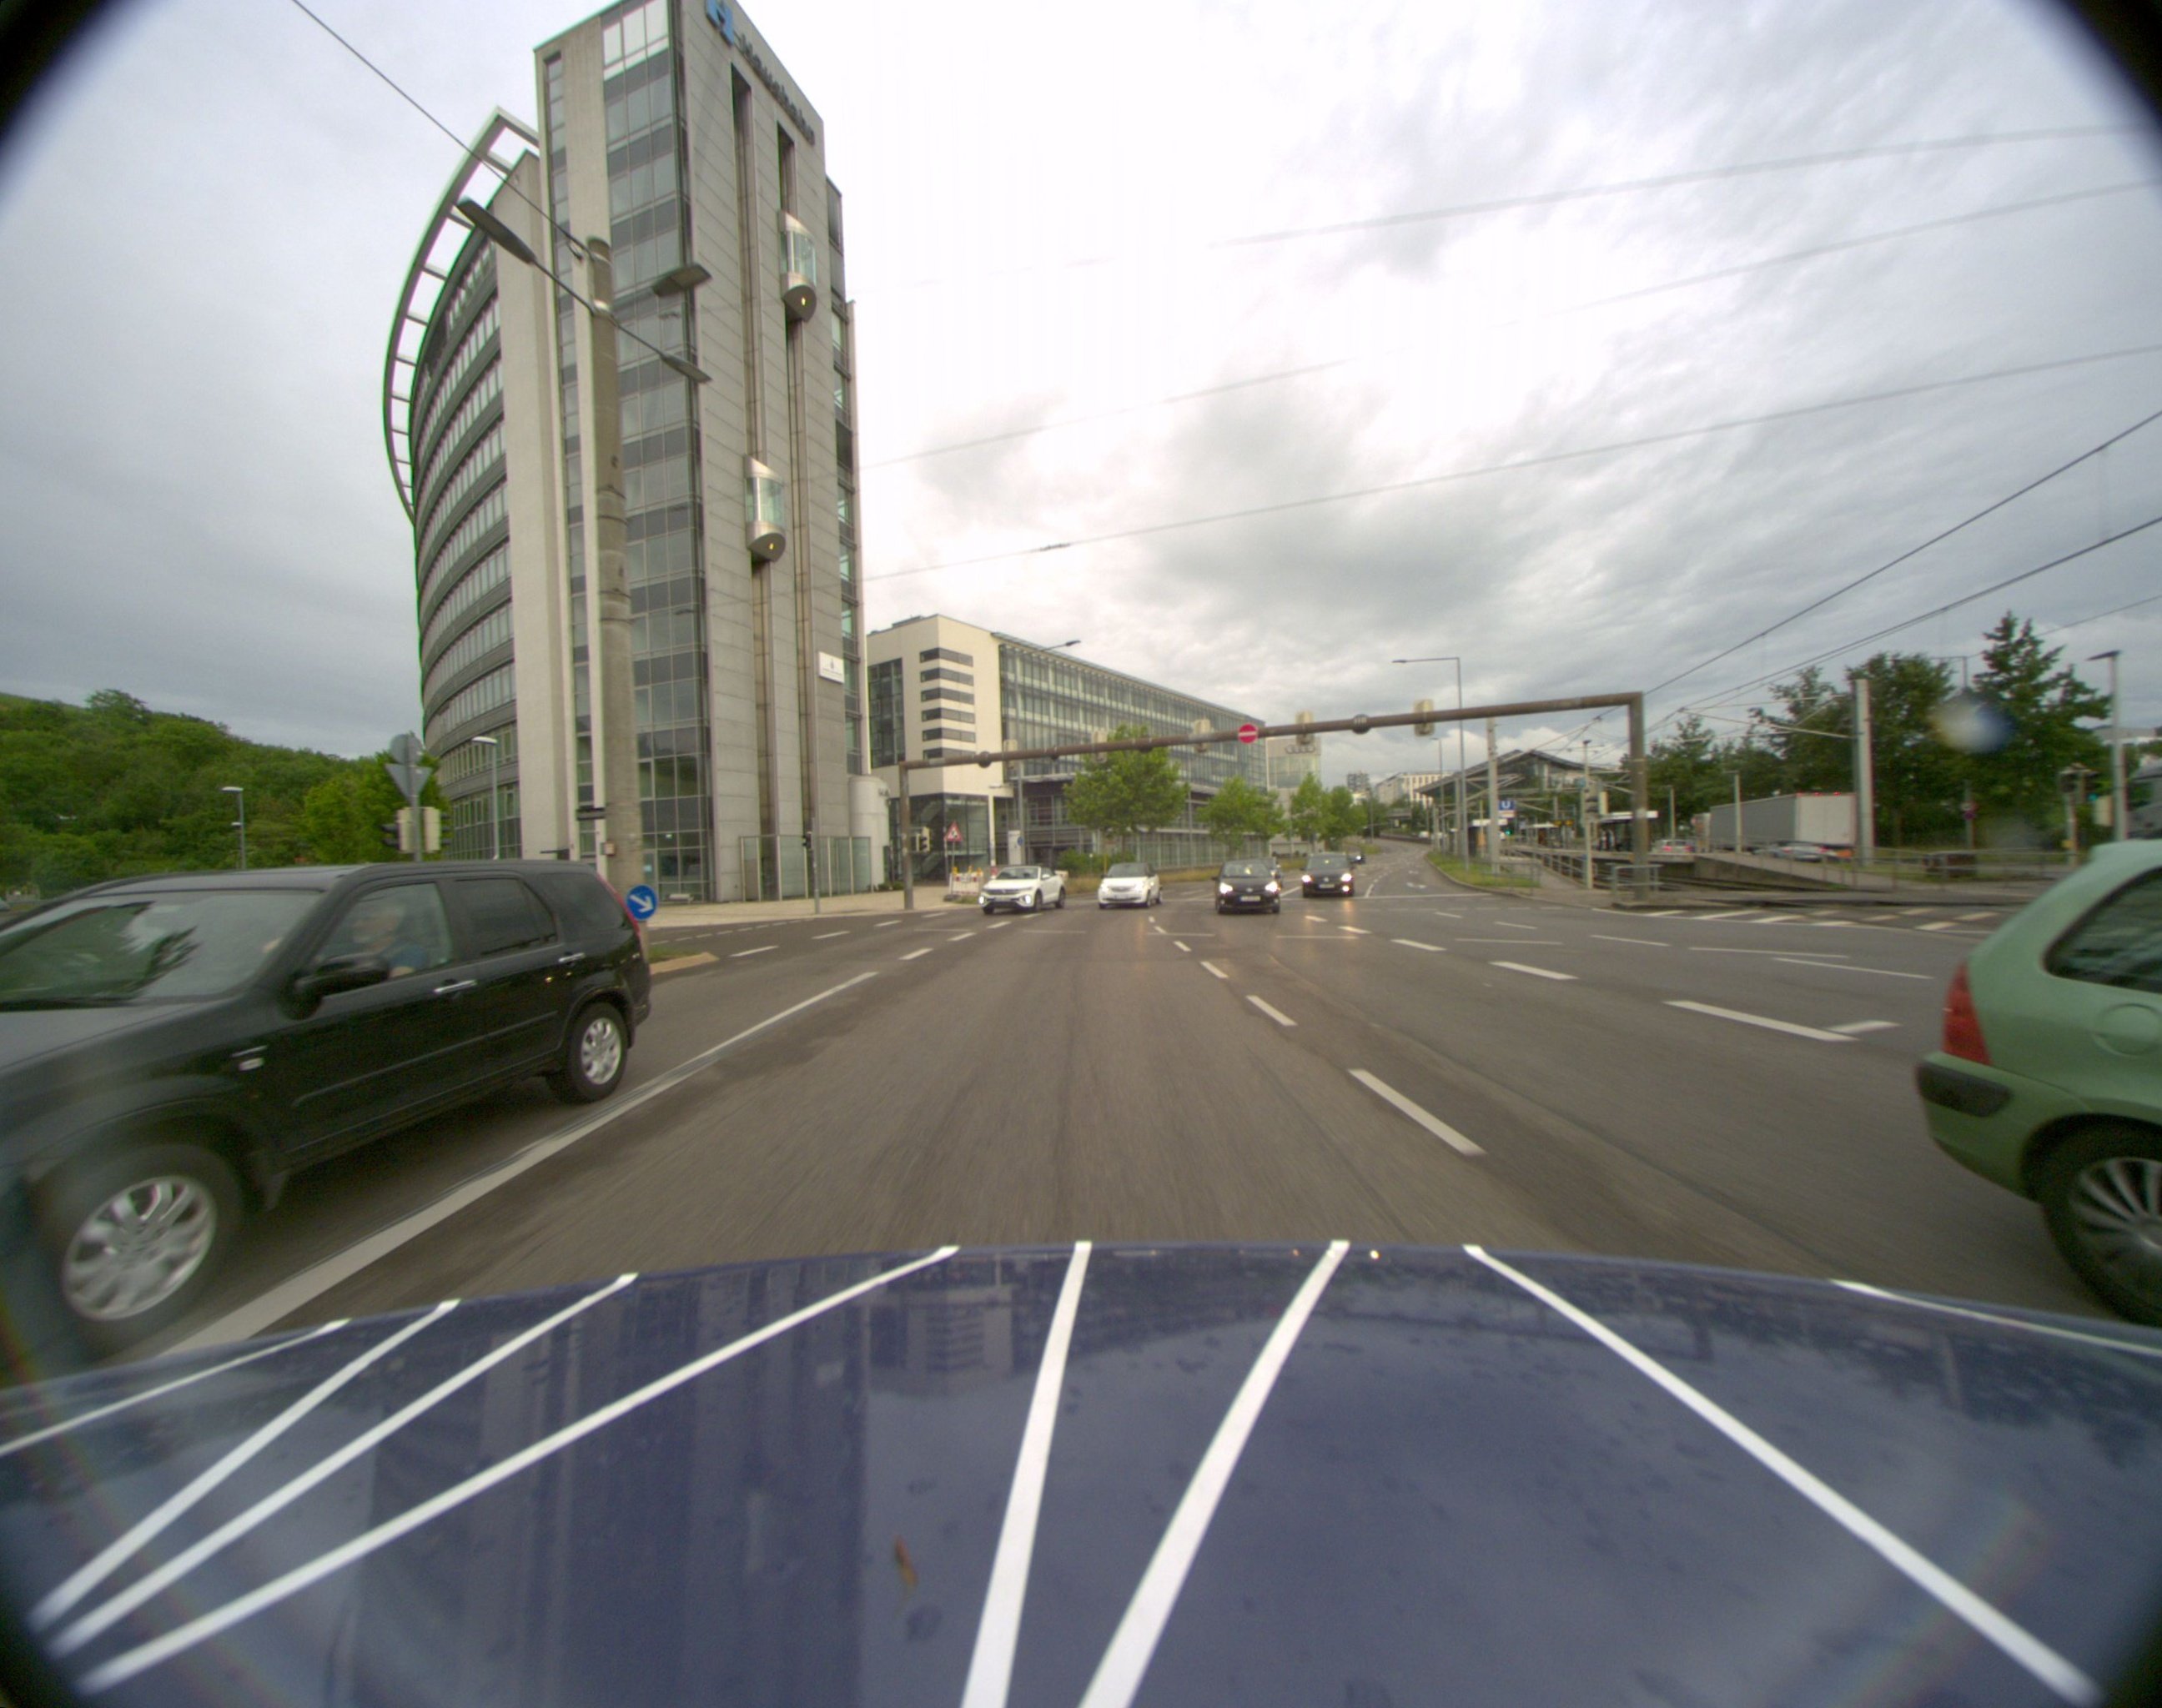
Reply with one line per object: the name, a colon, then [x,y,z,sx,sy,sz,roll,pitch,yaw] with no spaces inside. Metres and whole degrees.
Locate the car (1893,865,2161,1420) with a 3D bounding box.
car: [3.719,0.756,0.480,1.699,1.459,4.404,-4,0,2]

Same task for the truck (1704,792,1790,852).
truck: [47.631,-2.163,54.531,2.834,3.972,5.996,-2,-1,24]

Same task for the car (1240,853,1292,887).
car: [9.126,0.758,37.254,1.737,1.469,4.006,-4,-1,23]

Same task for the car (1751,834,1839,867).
car: [38.504,-0.201,41.108,1.905,1.546,4.573,-5,-1,23]

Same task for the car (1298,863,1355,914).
car: [9.284,1.235,28.501,1.729,1.582,4.199,-4,-1,21]

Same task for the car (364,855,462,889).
car: [-32.743,0.889,37.233,4.315,1.306,1.903,-4,0,24]

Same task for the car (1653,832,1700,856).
car: [46.526,-0.794,59.485,1.889,1.642,4.102,-4,0,25]

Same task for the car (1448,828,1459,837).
car: [96.479,-5.532,196.837,1.996,2.201,5.151,-4,0,23]

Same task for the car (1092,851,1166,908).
car: [1.745,0.795,26.254,1.803,1.713,4.003,1,2,15]

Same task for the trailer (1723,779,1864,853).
trailer: [45.109,-2.158,48.684,2.797,4.083,11.462,-2,-1,23]

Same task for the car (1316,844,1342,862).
car: [25.920,-0.115,79.334,1.826,1.700,4.160,-4,0,28]

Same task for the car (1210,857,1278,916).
car: [4.673,0.879,22.100,1.696,1.513,3.908,-2,-1,10]

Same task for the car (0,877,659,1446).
car: [-4.130,1.004,3.687,1.770,1.620,4.325,-4,-1,-2]

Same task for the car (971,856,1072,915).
car: [-1.835,0.968,24.747,1.996,1.669,3.826,-2,0,16]

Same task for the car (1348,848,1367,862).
car: [34.431,0.137,94.663,1.699,1.514,3.831,-3,1,28]

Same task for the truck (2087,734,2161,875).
truck: [32.343,-1.460,20.935,2.669,4.106,6.194,-2,0,21]
